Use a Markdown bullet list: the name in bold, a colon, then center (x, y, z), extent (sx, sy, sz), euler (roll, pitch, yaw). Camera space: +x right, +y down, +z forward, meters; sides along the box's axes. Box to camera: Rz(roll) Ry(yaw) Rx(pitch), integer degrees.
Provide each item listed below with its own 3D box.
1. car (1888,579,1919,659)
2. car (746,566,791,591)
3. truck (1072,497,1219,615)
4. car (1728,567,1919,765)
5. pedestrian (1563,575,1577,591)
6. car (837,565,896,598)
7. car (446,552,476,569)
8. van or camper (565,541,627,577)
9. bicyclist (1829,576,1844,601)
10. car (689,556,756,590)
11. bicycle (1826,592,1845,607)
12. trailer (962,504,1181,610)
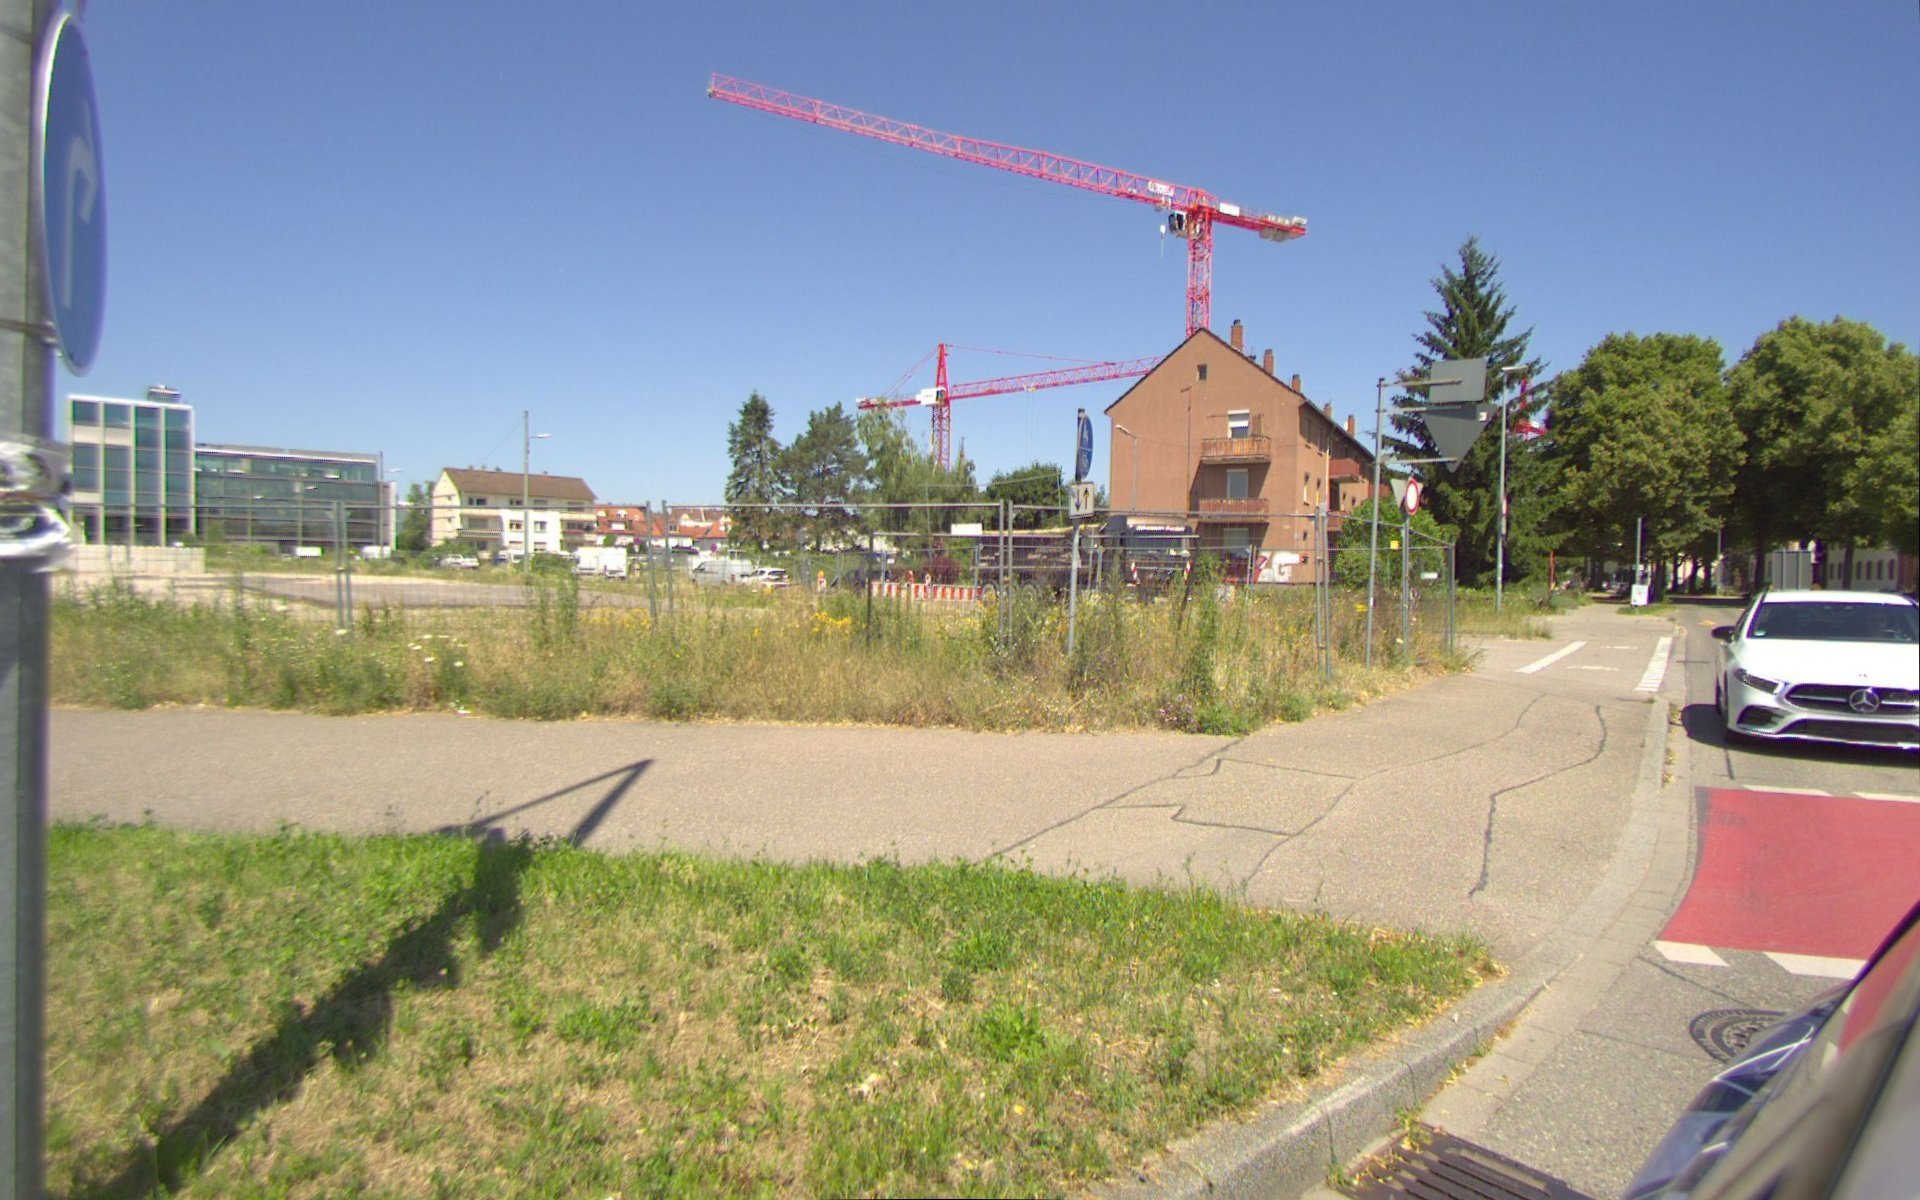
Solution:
- **car**: center (18.316, 0.396, 16.962), extent (1.772, 1.469, 4.606), euler (1, 1, 9)
- **car**: center (-11.397, -1.299, 60.176), extent (1.394, 1.423, 2.787), euler (-1, 3, -41)
- **truck**: center (6.004, -1.432, 33.648), extent (3.099, 3.576, 4.975), euler (1, 2, -12)
- **car**: center (8.638, 0.493, 9.824), extent (1.771, 1.564, 3.911), euler (2, 2, 36)
- **pedestrian**: center (58.025, -1.623, 96.299), extent (1.019, 1.536, 0.673), euler (2, 2, 37)
- **car**: center (-4.935, -0.987, 53.023), extent (1.346, 1.633, 3.414), euler (0, 2, -40)
- **car**: center (-49.484, -3.923, 100.390), extent (1.653, 1.606, 3.614), euler (-2, 2, -43)
- **van or camper**: center (-27.877, -3.126, 77.392), extent (1.897, 2.634, 6.989), euler (0, 2, -43)
- **bicyclist**: center (56.641, -0.747, 65.406), extent (0.564, 1.630, 0.732), euler (2, 2, 31)
- **car**: center (-15.085, -1.716, 64.096), extent (4.664, 2.038, 1.758), euler (3, 2, 42)
- **bicycle**: center (56.649, -0.050, 65.461), extent (0.558, 0.927, 1.888), euler (2, 2, 30)
- **trailer**: center (3.932, -1.612, 38.540), extent (3.105, 3.576, 8.994), euler (0, 2, -35)
